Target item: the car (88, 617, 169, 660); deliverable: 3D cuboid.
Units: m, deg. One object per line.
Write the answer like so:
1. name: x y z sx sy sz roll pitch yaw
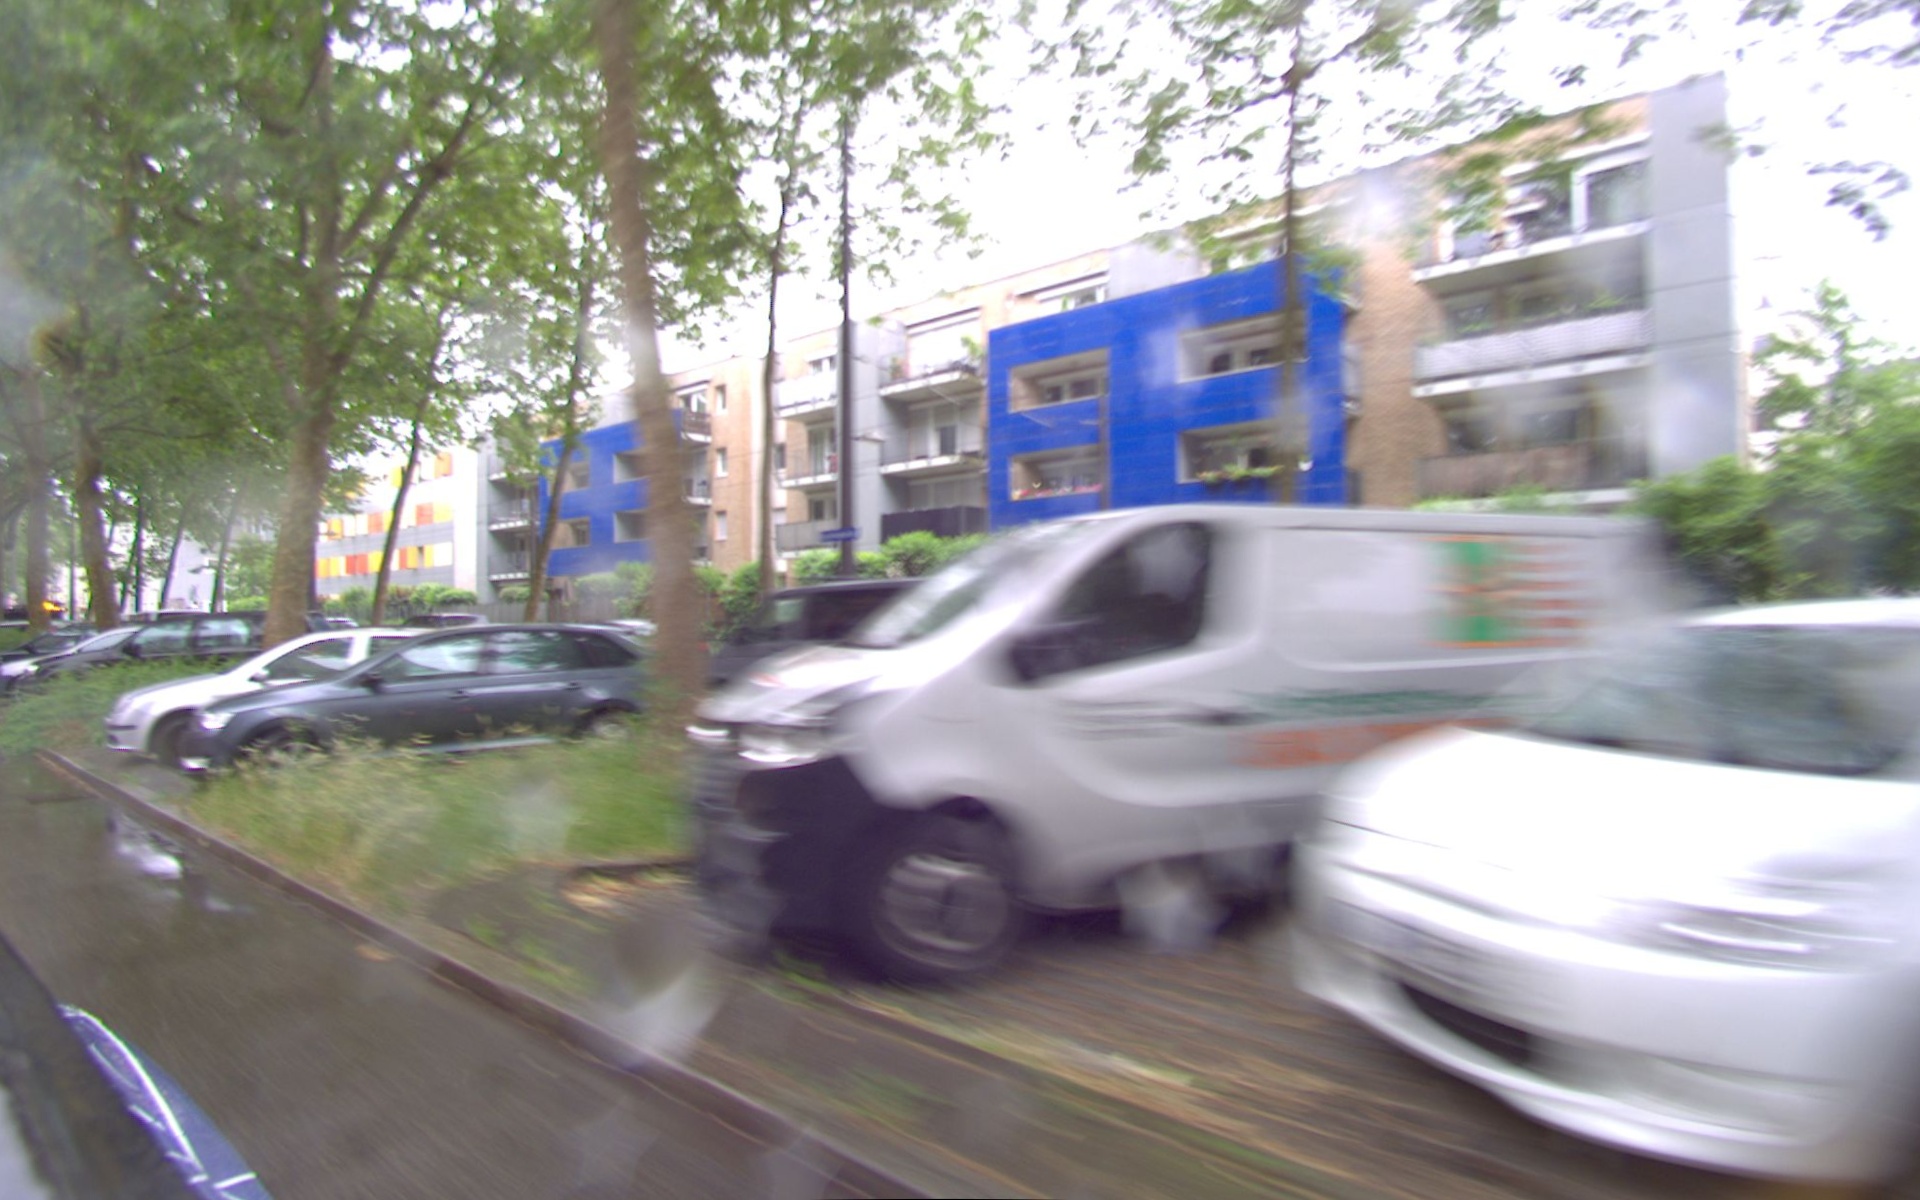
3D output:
1. car: -43.057 1.962 52.367 5.425 2.012 2.035 -2 1 37

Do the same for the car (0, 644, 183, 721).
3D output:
1. car: -20.181 1.841 22.591 4.157 1.491 1.749 -2 -1 -22

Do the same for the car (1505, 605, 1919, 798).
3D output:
1. car: 7.264 0.782 8.671 4.267 1.431 1.974 -2 -2 39

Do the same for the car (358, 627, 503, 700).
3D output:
1. car: -14.382 1.651 27.397 4.417 1.753 1.885 -2 -1 40

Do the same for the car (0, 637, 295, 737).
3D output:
1. car: -14.945 1.528 18.437 4.342 1.658 1.877 1 -2 -18

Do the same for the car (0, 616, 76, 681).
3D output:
1. car: -35.501 1.771 36.840 4.580 2.300 2.018 0 -1 -20

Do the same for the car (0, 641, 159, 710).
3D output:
1. car: -22.112 1.834 24.725 3.591 1.491 1.749 -2 -1 -19

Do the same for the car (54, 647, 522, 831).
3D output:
1. car: -7.040 1.380 11.122 3.999 1.510 1.753 -2 -1 -26

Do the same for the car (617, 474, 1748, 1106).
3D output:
1. car: 0.981 0.637 4.999 5.043 1.992 2.109 0 -2 -18

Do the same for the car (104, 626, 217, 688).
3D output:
1. car: -28.658 1.989 36.207 5.152 2.015 2.018 -2 -1 38

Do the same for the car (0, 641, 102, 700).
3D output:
1. car: -27.651 2.066 29.220 3.995 1.549 1.841 -2 -1 -24

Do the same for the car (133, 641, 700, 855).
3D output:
1. car: -4.737 1.202 9.415 4.241 1.448 1.753 -2 -1 -23

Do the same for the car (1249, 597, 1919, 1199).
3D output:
1. car: 3.013 0.774 3.143 3.721 1.493 1.728 0 -2 -18

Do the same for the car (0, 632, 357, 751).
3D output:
1. car: -12.563 1.403 16.596 4.341 1.672 1.936 0 -1 -21

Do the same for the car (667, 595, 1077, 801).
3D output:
1. car: -1.238 1.019 12.479 5.022 2.029 1.975 -1 0 38
